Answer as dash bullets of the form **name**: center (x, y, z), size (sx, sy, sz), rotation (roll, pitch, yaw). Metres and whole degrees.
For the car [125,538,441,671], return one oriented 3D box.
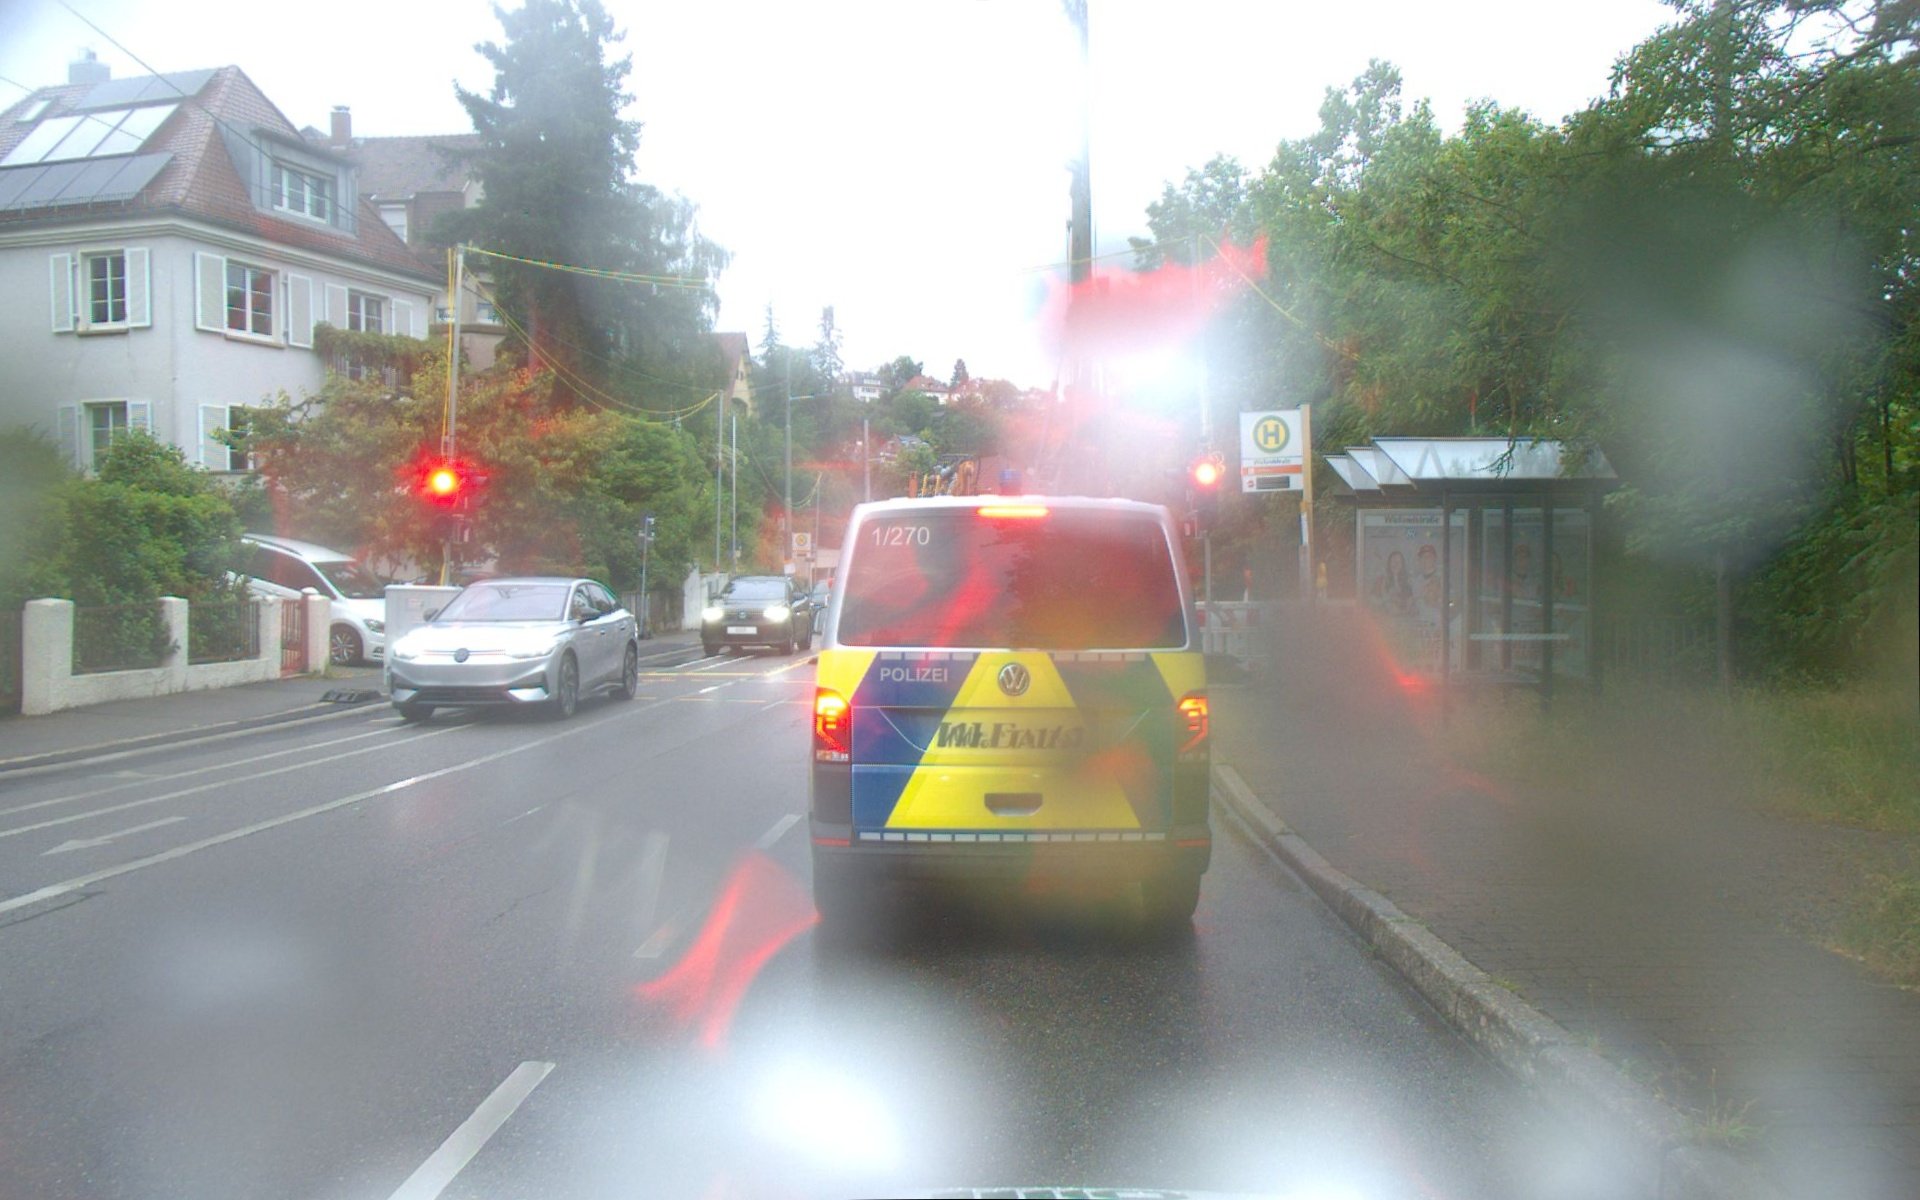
- **car**: center (-11.207, 0.048, 27.493), size (4.532, 2.042, 1.902), rotation (1, 0, 11)

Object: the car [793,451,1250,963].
- **car**: center (0.228, 0.431, 8.824), size (1.855, 2.086, 3.999), rotation (1, 0, -1)

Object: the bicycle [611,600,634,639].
- **bicycle**: center (-8.052, 0.457, 39.457), size (0.455, 0.913, 1.628), rotation (0, 0, -15)

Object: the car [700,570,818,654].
- **car**: center (-4.211, 0.233, 35.276), size (1.828, 1.650, 4.166), rotation (1, 0, 2)

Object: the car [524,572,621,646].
- **car**: center (-8.909, 0.166, 37.831), size (1.739, 1.512, 3.721), rotation (1, 2, -20)

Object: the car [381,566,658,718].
- **car**: center (-4.998, 0.449, 19.511), size (1.814, 1.554, 4.821), rotation (0, 0, 2)

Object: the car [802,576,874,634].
- **car**: center (-3.731, 0.142, 51.314), size (1.953, 1.703, 4.687), rotation (1, 0, -1)

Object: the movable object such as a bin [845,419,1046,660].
- **movable object such as a bin**: center (-0.164, -1.103, 31.641), size (2.770, 4.250, 4.384), rotation (1, 0, 14)
